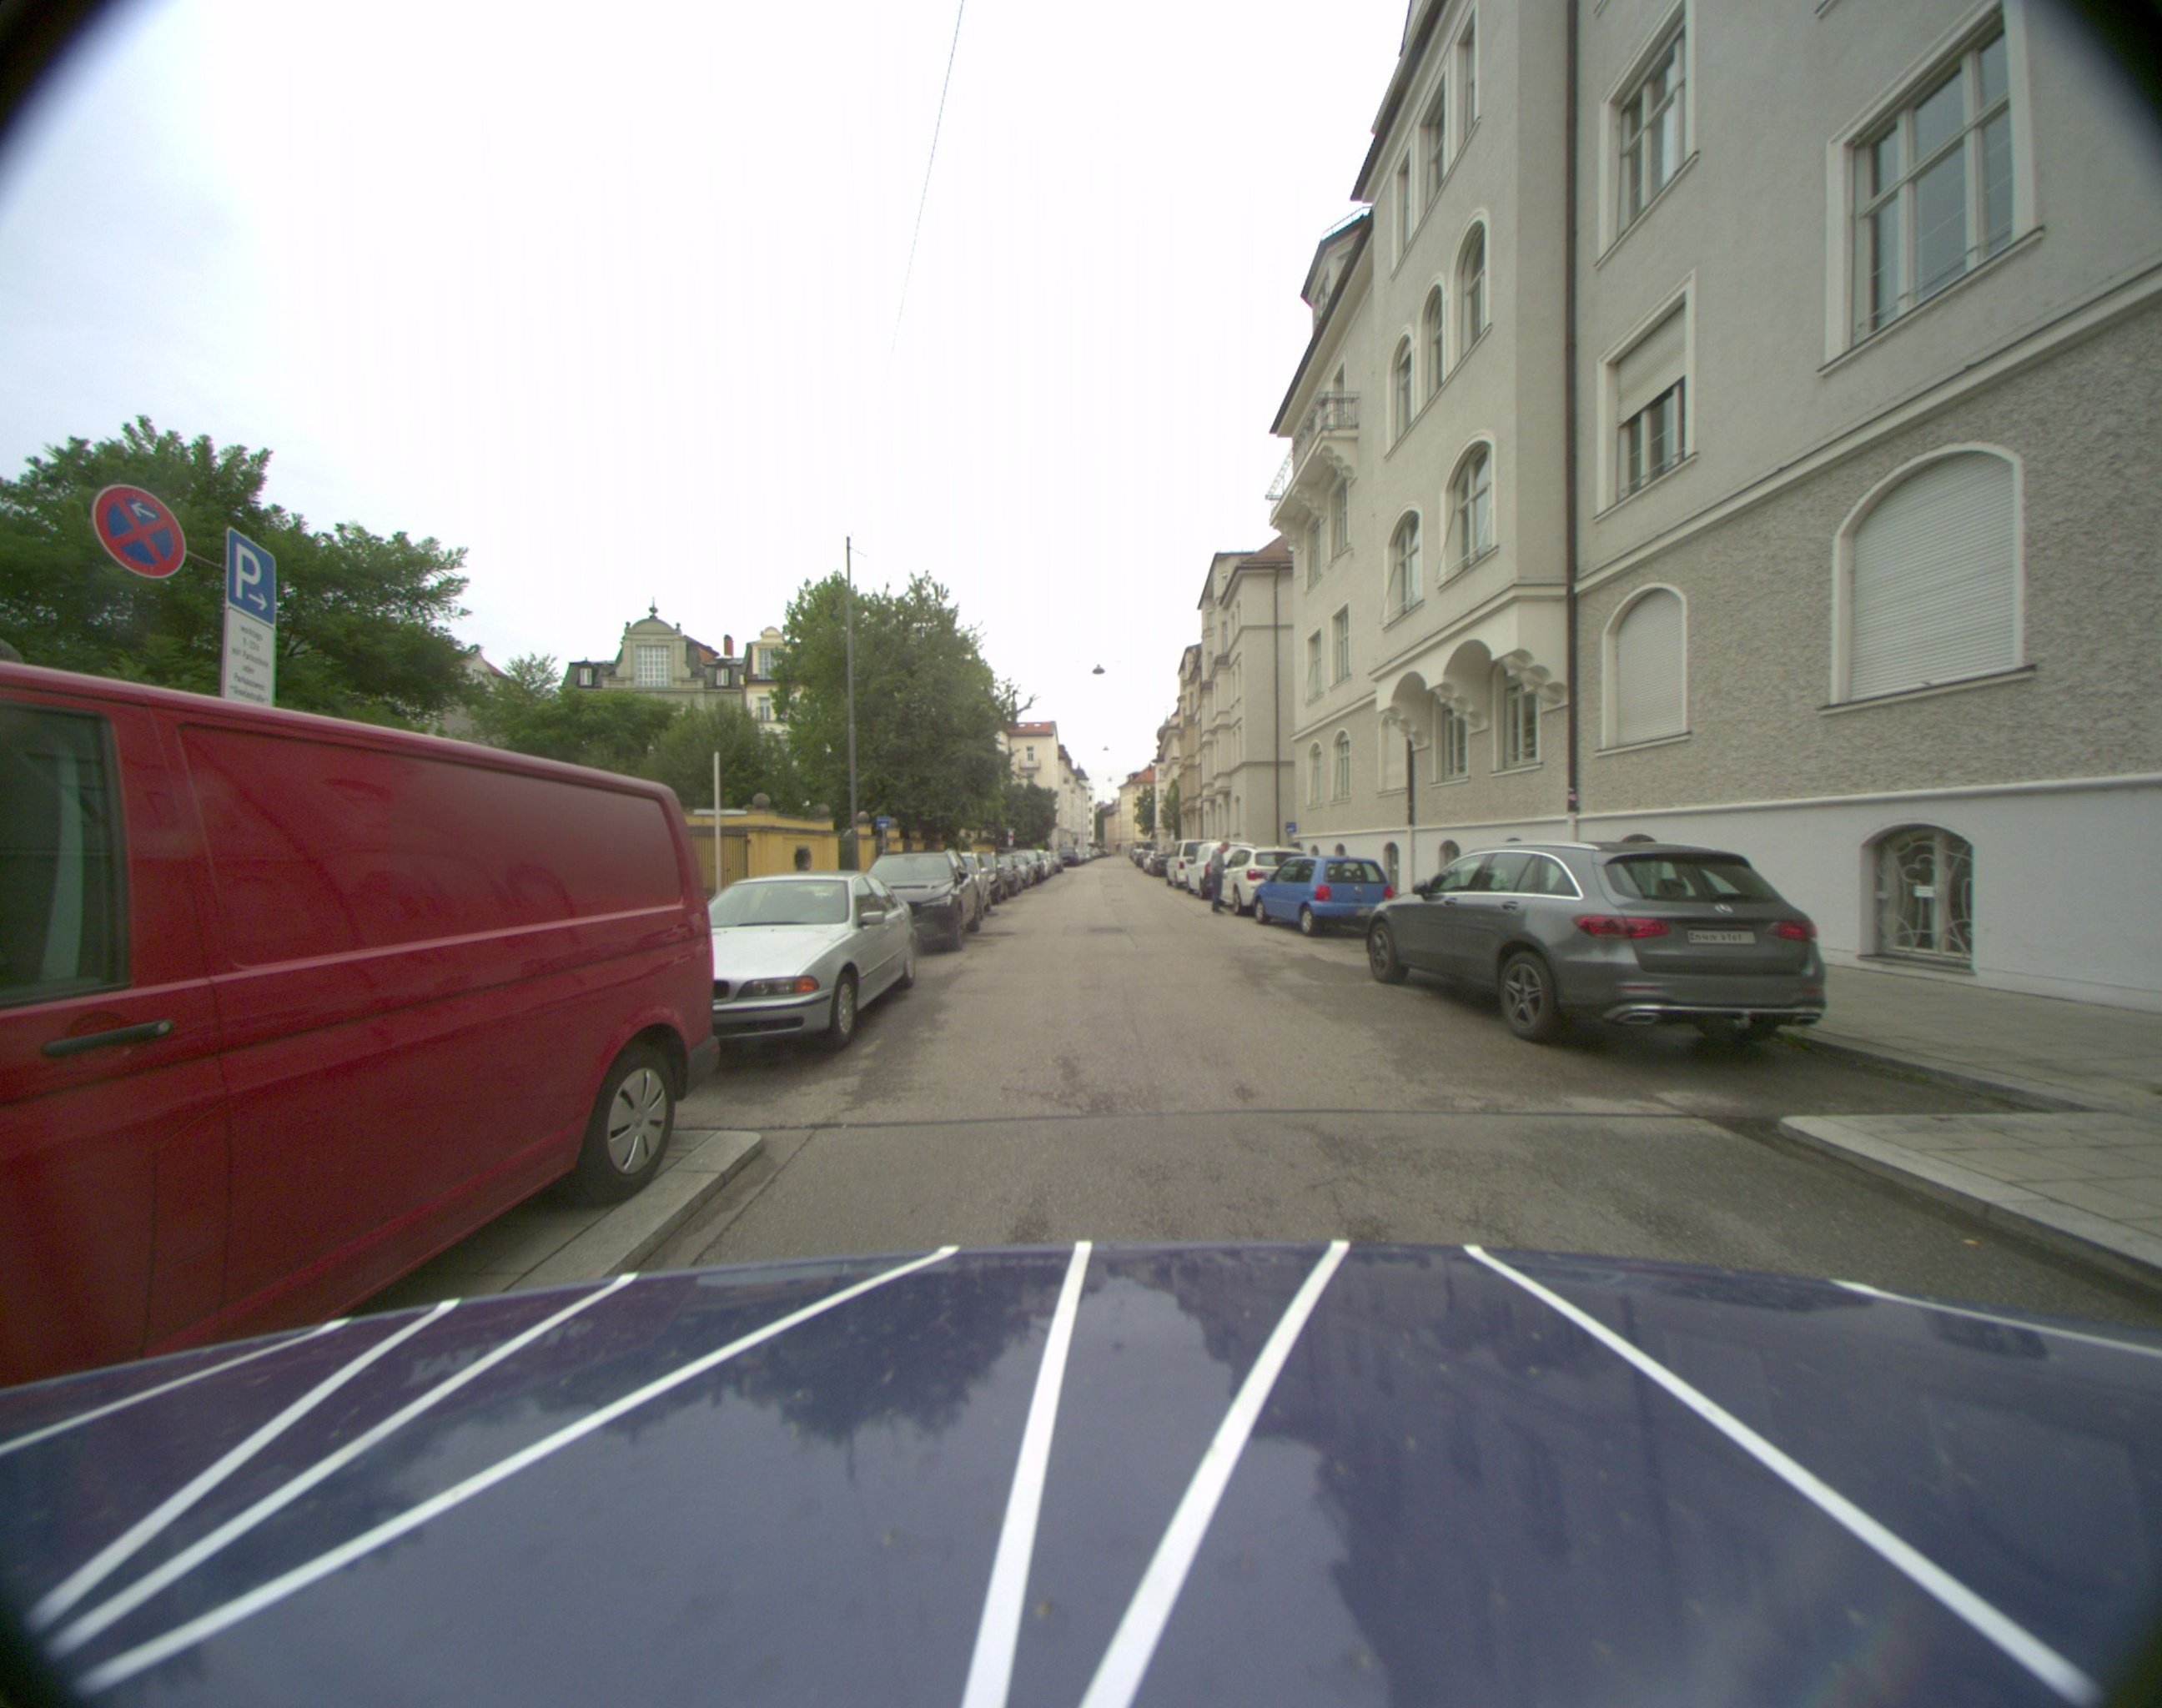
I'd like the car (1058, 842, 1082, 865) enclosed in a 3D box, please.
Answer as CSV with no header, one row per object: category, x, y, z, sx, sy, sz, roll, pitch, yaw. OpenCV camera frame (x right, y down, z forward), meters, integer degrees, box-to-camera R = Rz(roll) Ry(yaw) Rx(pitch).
car,-0.950,-0.035,70.421,1.998,1.949,4.433,-4,0,1

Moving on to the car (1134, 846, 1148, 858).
car,7.947,-0.259,100.664,1.626,1.522,3.689,1,1,2

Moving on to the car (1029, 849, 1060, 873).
car,-2.260,0.400,47.881,1.717,1.445,4.183,0,1,1

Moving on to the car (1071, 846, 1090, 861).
car,-0.047,-0.058,85.541,1.998,1.585,4.299,-4,0,1

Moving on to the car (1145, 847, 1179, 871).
car,5.269,0.316,49.930,1.860,1.455,4.378,1,1,1

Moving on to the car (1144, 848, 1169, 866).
car,5.944,0.249,60.191,1.809,1.355,3.730,1,1,3

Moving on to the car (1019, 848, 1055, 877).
car,-2.434,0.435,43.075,1.717,1.562,4.319,0,1,1

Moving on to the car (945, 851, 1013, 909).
car,-2.996,0.724,22.853,1.511,1.557,2.869,-3,1,2

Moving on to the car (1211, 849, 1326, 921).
car,4.573,0.678,19.244,1.751,1.593,4.495,1,1,-1

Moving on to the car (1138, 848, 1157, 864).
car,6.158,0.149,70.772,1.626,1.421,3.942,1,1,4

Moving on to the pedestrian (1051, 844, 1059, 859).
pedestrian,-3.035,-0.293,88.802,0.876,1.680,1.052,-1,1,2

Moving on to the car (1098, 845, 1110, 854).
car,4.604,-0.856,153.362,1.998,1.585,4.429,-4,0,6

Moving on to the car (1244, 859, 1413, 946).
car,4.601,0.835,14.713,1.697,1.406,3.660,0,1,-7

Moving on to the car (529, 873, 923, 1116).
car,-2.898,1.024,7.446,1.889,1.440,4.367,-3,1,-2

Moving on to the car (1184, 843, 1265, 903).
car,4.625,0.524,25.194,1.751,1.778,5.036,1,1,0

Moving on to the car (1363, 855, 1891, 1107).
car,4.427,0.844,7.254,1.751,1.593,4.495,1,1,-1

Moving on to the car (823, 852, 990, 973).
car,-2.840,0.855,13.541,1.889,1.643,4.822,-3,1,-1

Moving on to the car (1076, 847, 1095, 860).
car,0.638,-0.098,97.734,1.998,1.585,4.300,-4,0,4

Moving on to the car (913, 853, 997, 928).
car,-2.947,0.792,18.423,1.488,1.531,3.691,-3,1,-2

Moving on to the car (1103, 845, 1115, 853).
car,6.159,-1.130,167.039,1.997,1.585,4.301,-4,0,9

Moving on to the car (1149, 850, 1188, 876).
car,5.108,0.469,44.876,1.860,1.404,4.378,1,1,1

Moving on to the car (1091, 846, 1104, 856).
car,2.901,-0.551,133.253,1.998,1.585,4.300,-4,0,4

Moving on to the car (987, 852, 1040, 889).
car,-2.745,0.629,31.837,1.696,1.406,4.515,0,1,1

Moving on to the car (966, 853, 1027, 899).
car,-2.898,0.718,26.852,1.696,1.406,4.035,-3,1,-1

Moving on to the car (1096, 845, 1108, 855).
car,4.116,-0.792,147.945,1.998,1.672,4.300,-4,0,6

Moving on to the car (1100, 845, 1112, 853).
car,5.203,-1.059,158.209,1.997,1.585,4.301,-4,0,8

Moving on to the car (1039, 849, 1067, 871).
car,-1.885,0.366,52.622,1.717,1.445,4.955,0,1,1

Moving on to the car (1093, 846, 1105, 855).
car,3.413,-0.690,142.839,1.998,1.585,4.300,-4,0,4

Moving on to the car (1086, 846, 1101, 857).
car,2.054,-0.363,122.554,1.998,1.585,4.300,-4,0,4

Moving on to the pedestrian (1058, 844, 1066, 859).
pedestrian,-2.199,-0.248,88.788,0.876,1.746,1.052,-1,1,2

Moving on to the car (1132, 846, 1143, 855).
car,9.451,-0.582,127.243,1.626,1.522,3.920,1,1,2

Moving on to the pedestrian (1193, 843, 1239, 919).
pedestrian,3.192,0.623,18.032,0.963,1.746,0.877,-1,1,3

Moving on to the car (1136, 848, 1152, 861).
car,7.058,0.057,85.379,1.627,1.421,3.689,1,1,1

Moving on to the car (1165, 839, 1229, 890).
car,4.678,0.360,31.353,1.860,1.927,4.956,1,1,0

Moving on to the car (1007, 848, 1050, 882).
car,-2.551,0.507,37.867,1.717,1.562,4.690,0,1,1

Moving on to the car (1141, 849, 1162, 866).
car,6.047,0.269,65.119,1.626,1.448,3.941,1,1,3

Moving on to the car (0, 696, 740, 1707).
car,-2.831,0.703,1.706,1.879,1.909,4.886,-2,1,0
